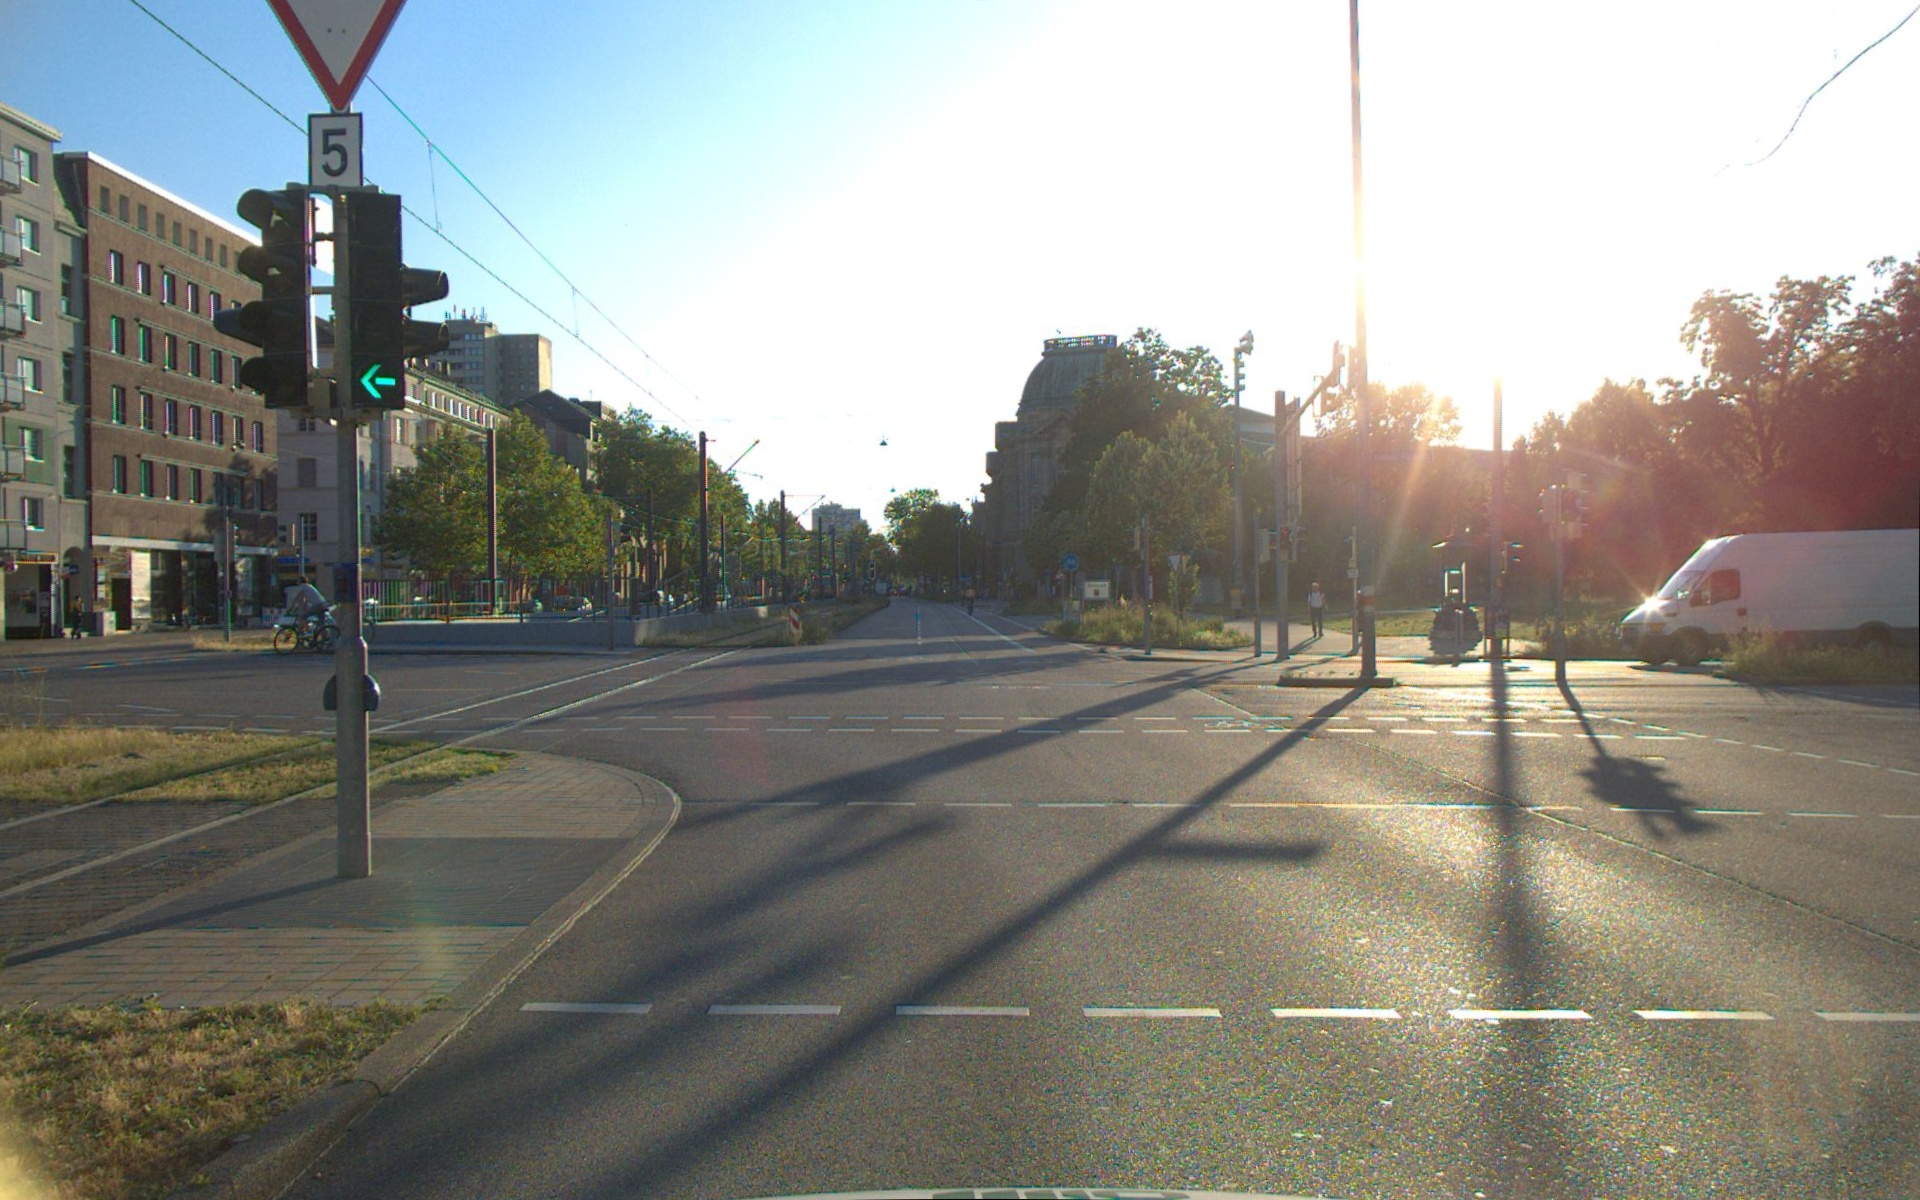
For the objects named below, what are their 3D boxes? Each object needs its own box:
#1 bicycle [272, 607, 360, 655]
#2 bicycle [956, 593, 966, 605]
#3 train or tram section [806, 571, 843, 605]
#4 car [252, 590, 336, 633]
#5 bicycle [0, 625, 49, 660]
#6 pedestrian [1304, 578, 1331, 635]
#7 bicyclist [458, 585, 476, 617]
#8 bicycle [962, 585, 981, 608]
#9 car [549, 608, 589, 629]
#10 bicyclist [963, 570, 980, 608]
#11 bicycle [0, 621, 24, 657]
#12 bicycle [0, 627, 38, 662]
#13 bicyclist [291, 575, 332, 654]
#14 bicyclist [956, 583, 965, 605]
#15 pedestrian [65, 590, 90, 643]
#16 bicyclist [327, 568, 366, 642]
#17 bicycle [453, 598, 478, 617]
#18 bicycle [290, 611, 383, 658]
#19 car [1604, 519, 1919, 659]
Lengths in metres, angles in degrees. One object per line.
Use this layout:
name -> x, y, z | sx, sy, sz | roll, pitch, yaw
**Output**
bicycle -> -15.309, 0.728, 39.360 | 1.869, 1.094, 0.630 | -1, 0, -15
bicycle -> 0.049, -0.131, 157.560 | 0.905, 1.131, 2.332 | -1, 0, -1
train or tram section -> -16.320, -1.475, 199.485 | 4.301, 3.917, 11.398 | -1, 0, -5
car -> -26.950, 0.447, 67.059 | 1.654, 1.646, 4.001 | -2, 0, 1
bicycle -> -32.824, 1.480, 57.751 | 1.655, 1.164, 0.697 | -1, 0, 1
pedestrian -> 11.658, 0.197, 53.901 | 0.815, 1.835, 0.811 | -1, 0, 14
bicyclist -> -31.856, 0.034, 106.881 | 0.780, 2.049, 0.924 | -1, 0, 1
bicycle -> 0.716, -0.226, 103.391 | 1.075, 1.423, 2.831 | -1, 0, -1
car -> -28.437, 1.343, 120.431 | 1.781, 1.445, 4.002 | -1, 0, 3
bicyclist -> 0.719, -0.685, 103.492 | 1.060, 2.316, 0.986 | 0, 0, -1
bicycle -> -32.870, 1.338, 56.244 | 1.655, 1.199, 0.748 | -1, 0, 1
bicycle -> -32.823, 1.527, 56.995 | 1.655, 1.190, 0.748 | -1, 0, 1
bicyclist -> -15.415, 0.337, 39.321 | 0.779, 1.850, 0.644 | -1, 0, -13
bicyclist -> 0.039, -0.560, 157.569 | 0.907, 2.049, 0.850 | 0, 0, -1
pedestrian -> -36.653, 0.677, 68.710 | 0.589, 2.216, 0.792 | -1, 0, -1
bicyclist -> -15.374, 0.123, 41.461 | 0.862, 1.850, 0.535 | -1, 0, -18
bicycle -> -31.874, 0.483, 106.640 | 0.796, 1.222, 2.413 | -1, 0, 2
bicycle -> -15.588, 0.863, 41.390 | 2.130, 1.102, 0.536 | -1, 0, -18
car -> 17.783, -0.249, 35.773 | 6.866, 2.877, 2.093 | -1, 0, 1
